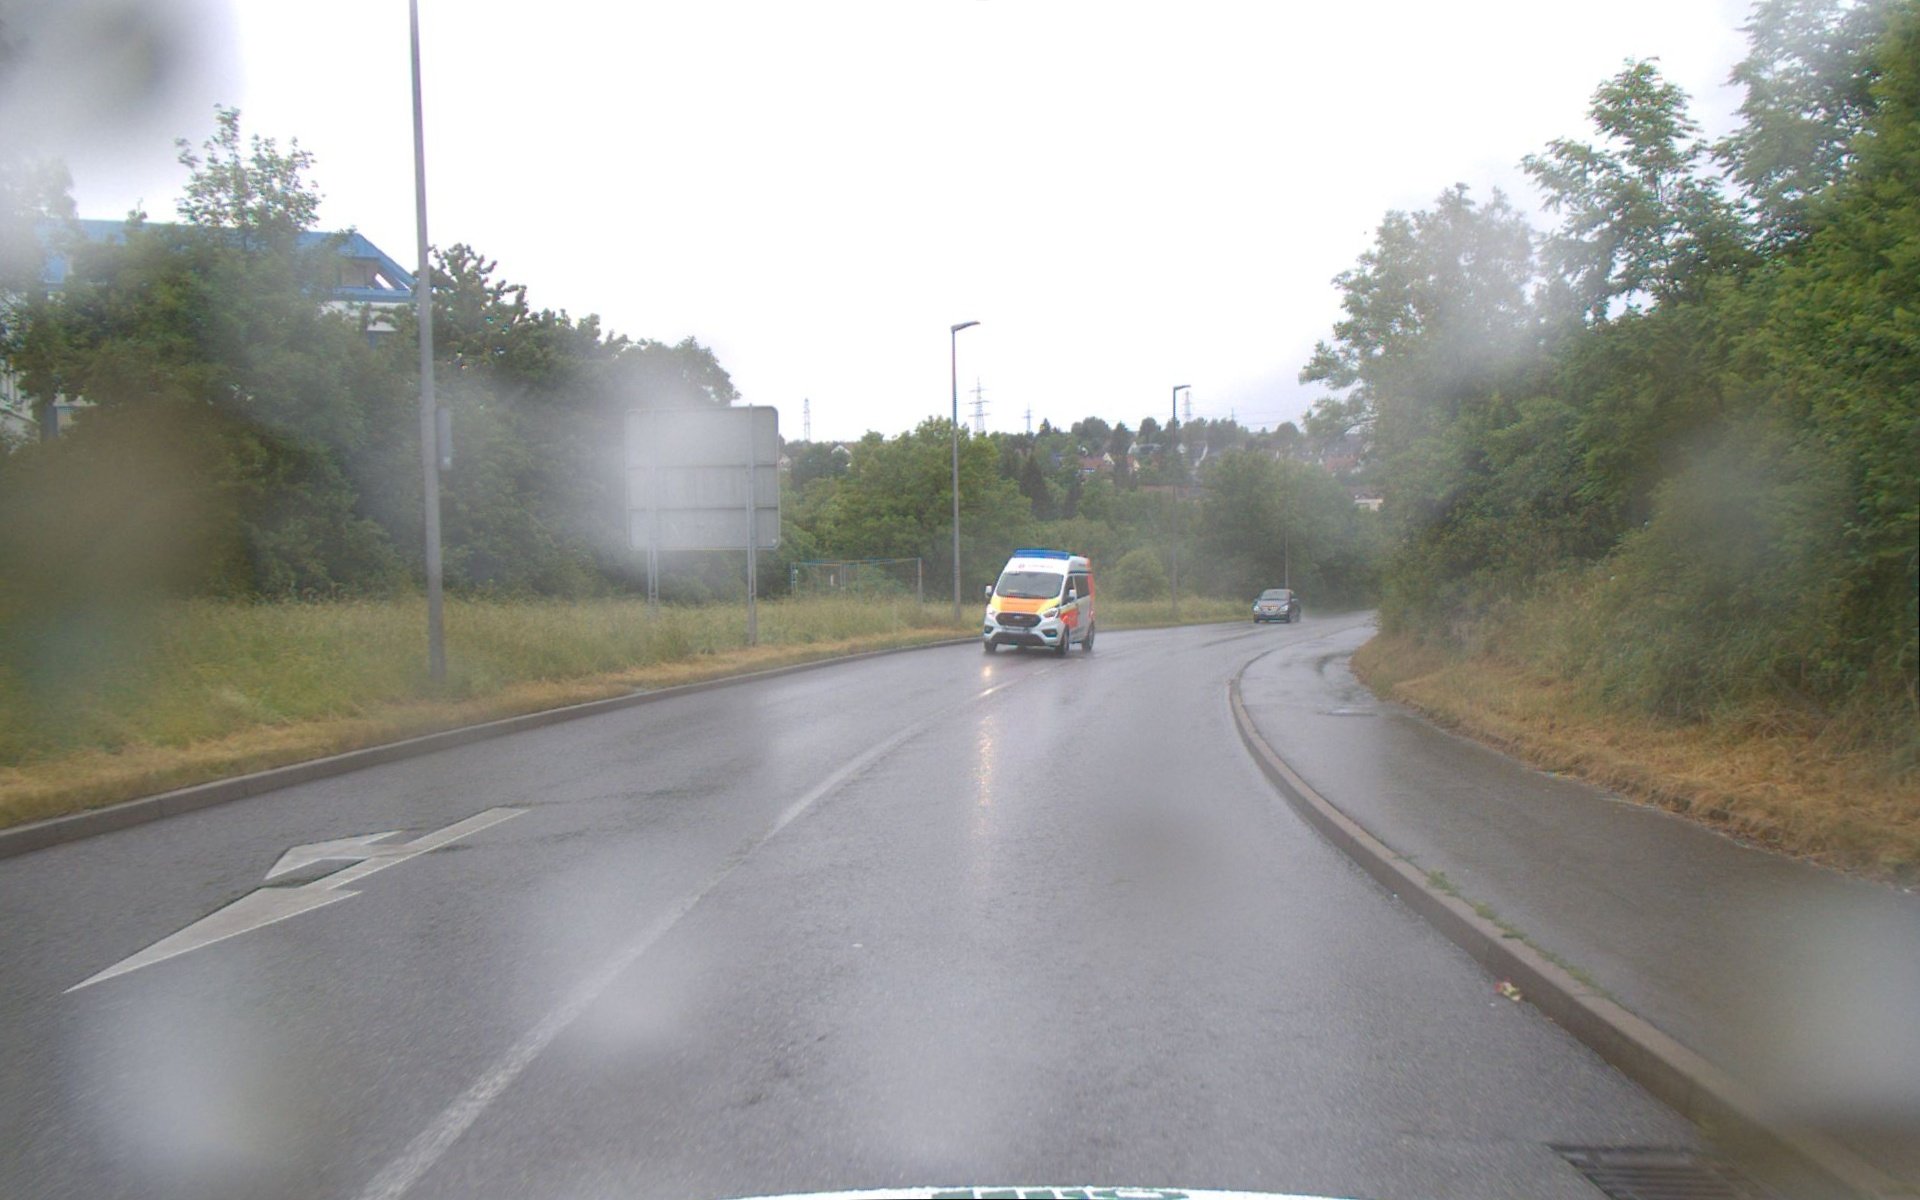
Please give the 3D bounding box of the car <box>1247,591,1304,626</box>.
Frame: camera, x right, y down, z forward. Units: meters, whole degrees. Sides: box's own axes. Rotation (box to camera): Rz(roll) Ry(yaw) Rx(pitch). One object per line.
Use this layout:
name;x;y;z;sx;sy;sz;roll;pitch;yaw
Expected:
car;15.249;0.413;79.825;1.826;1.579;4.265;2;1;22

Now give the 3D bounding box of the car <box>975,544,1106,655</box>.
car;2.048;-0.017;40.289;2.001;2.460;5.459;2;0;15
